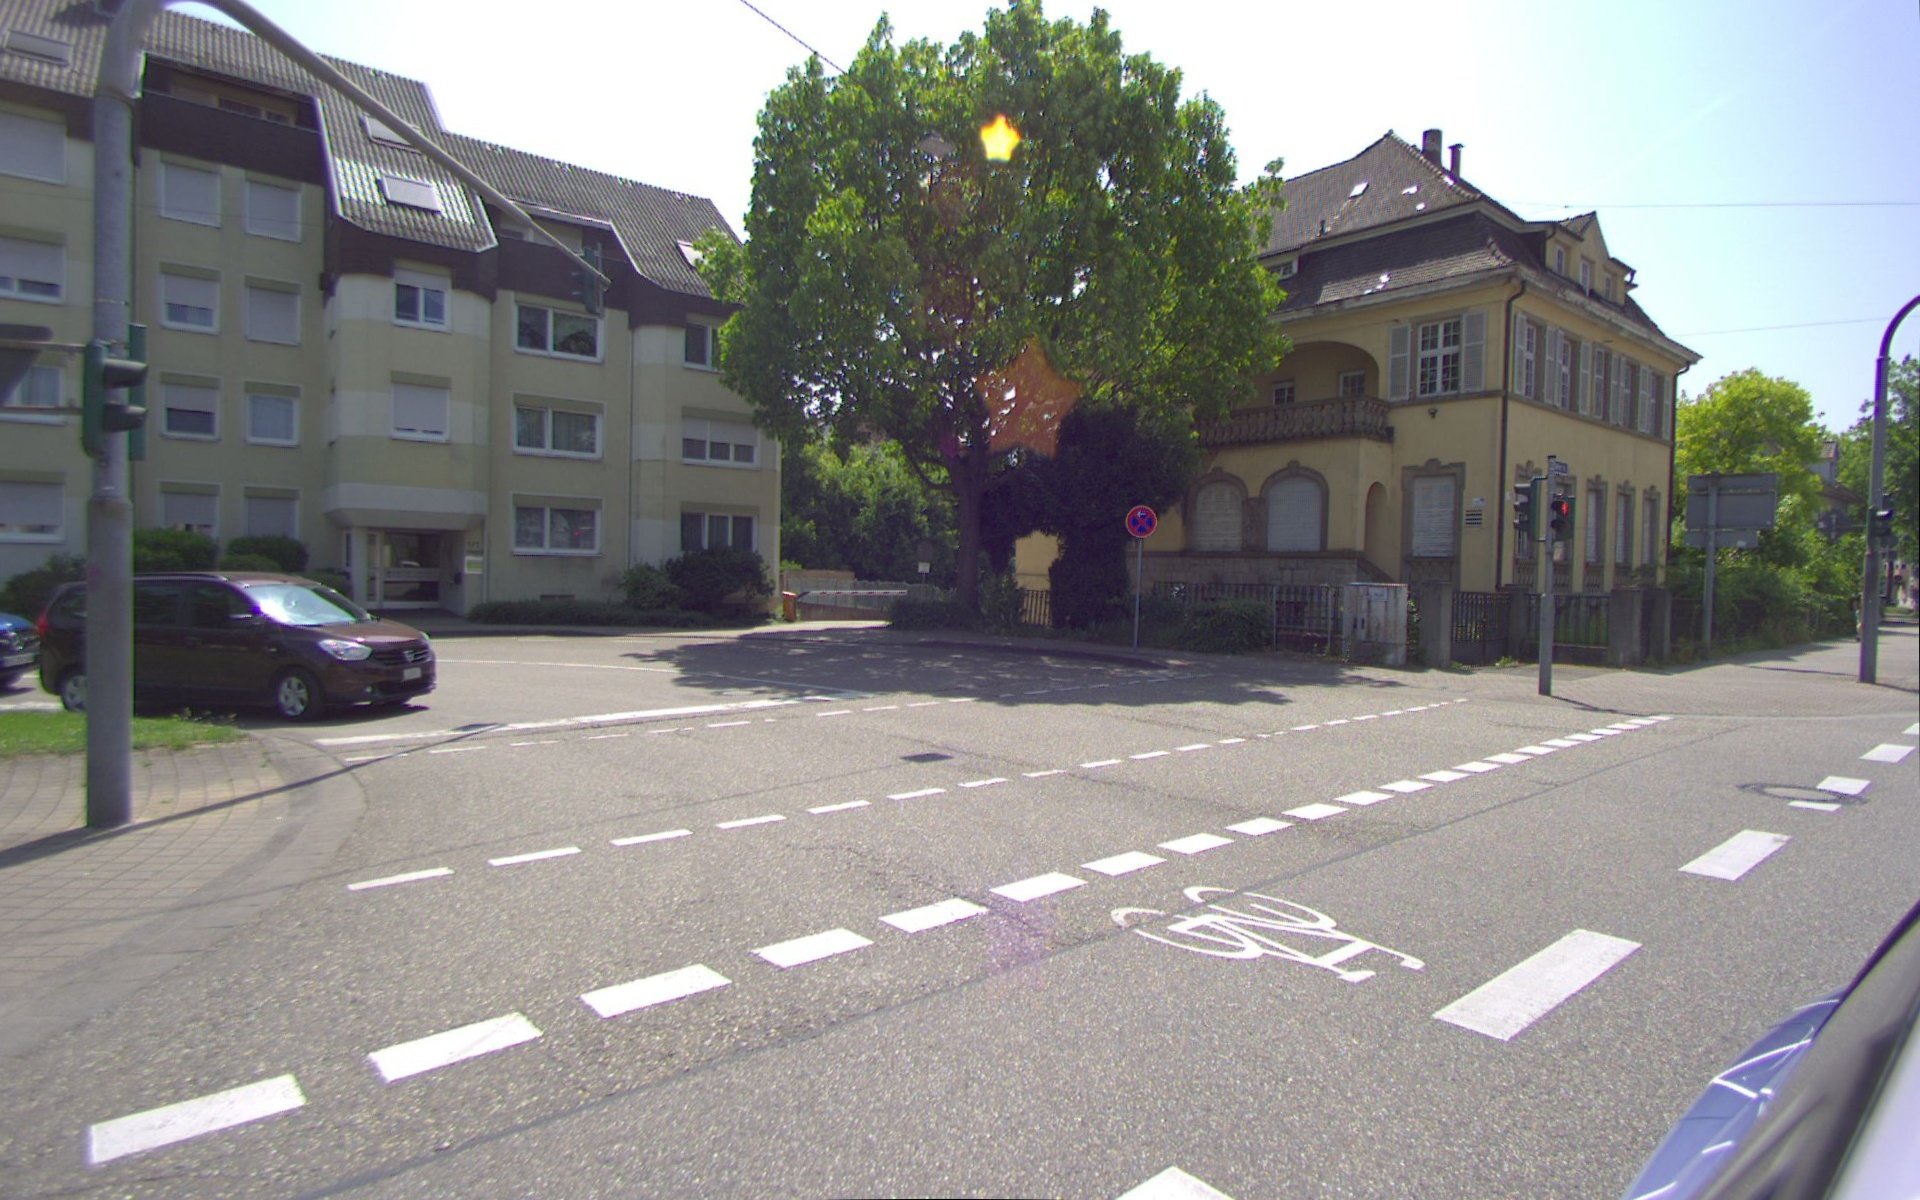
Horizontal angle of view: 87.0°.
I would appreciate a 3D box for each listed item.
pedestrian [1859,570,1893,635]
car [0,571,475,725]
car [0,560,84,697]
[{"bbox_3d":[28.153,0.070,31.104,0.731,1.942,0.620,0,2,-41],"label":"pedestrian"},{"bbox_3d":[-8.604,0.482,12.193,4.738,1.652,1.914,0,1,8],"label":"car"},{"bbox_3d":[-14.530,0.346,12.922,4.670,1.721,2.004,0,2,-10],"label":"car"}]
